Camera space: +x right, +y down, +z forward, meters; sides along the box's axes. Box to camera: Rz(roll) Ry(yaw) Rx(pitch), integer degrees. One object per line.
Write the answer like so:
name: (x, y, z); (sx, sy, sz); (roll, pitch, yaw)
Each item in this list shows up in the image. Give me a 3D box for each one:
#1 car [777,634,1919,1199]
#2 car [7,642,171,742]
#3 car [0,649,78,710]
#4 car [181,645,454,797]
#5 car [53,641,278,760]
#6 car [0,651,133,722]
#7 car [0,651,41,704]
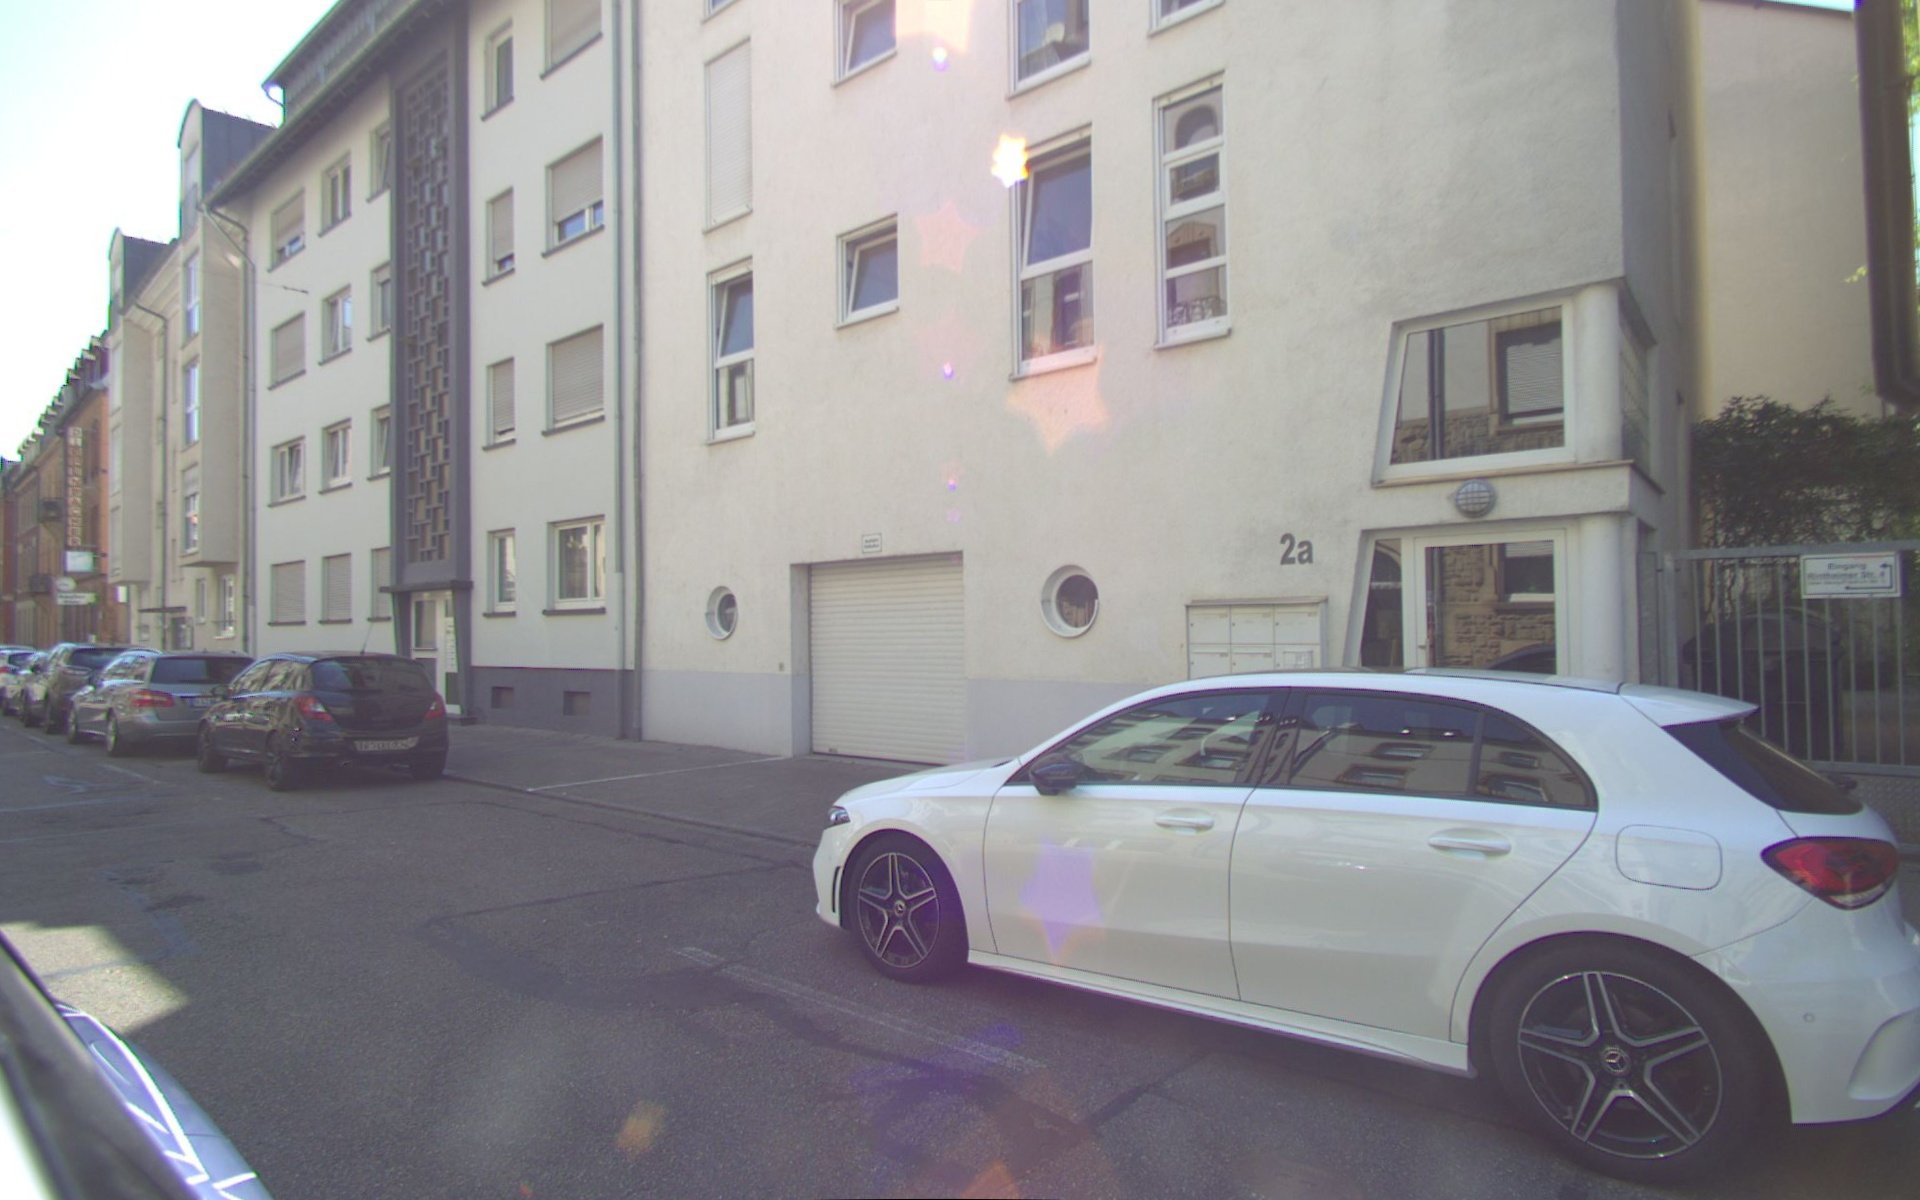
car: (1.349, 0.915, 4.243); (4.273, 1.471, 1.759); (-2, -4, 38)
car: (-16.183, 1.626, 18.738); (3.973, 1.657, 1.587); (-2, -5, 40)
car: (-25.063, 2.067, 26.882); (4.344, 1.506, 1.713); (-2, -5, 40)
car: (-7.685, 1.311, 11.979); (3.890, 1.503, 1.551); (-2, -5, 40)
car: (-12.007, 1.405, 15.175); (4.667, 1.530, 1.640); (-2, -5, 40)
car: (-19.963, 1.861, 22.380); (4.344, 1.404, 1.747); (-2, -5, 40)
car: (-30.280, 2.375, 31.567); (3.847, 1.561, 1.613); (-2, -6, 37)
